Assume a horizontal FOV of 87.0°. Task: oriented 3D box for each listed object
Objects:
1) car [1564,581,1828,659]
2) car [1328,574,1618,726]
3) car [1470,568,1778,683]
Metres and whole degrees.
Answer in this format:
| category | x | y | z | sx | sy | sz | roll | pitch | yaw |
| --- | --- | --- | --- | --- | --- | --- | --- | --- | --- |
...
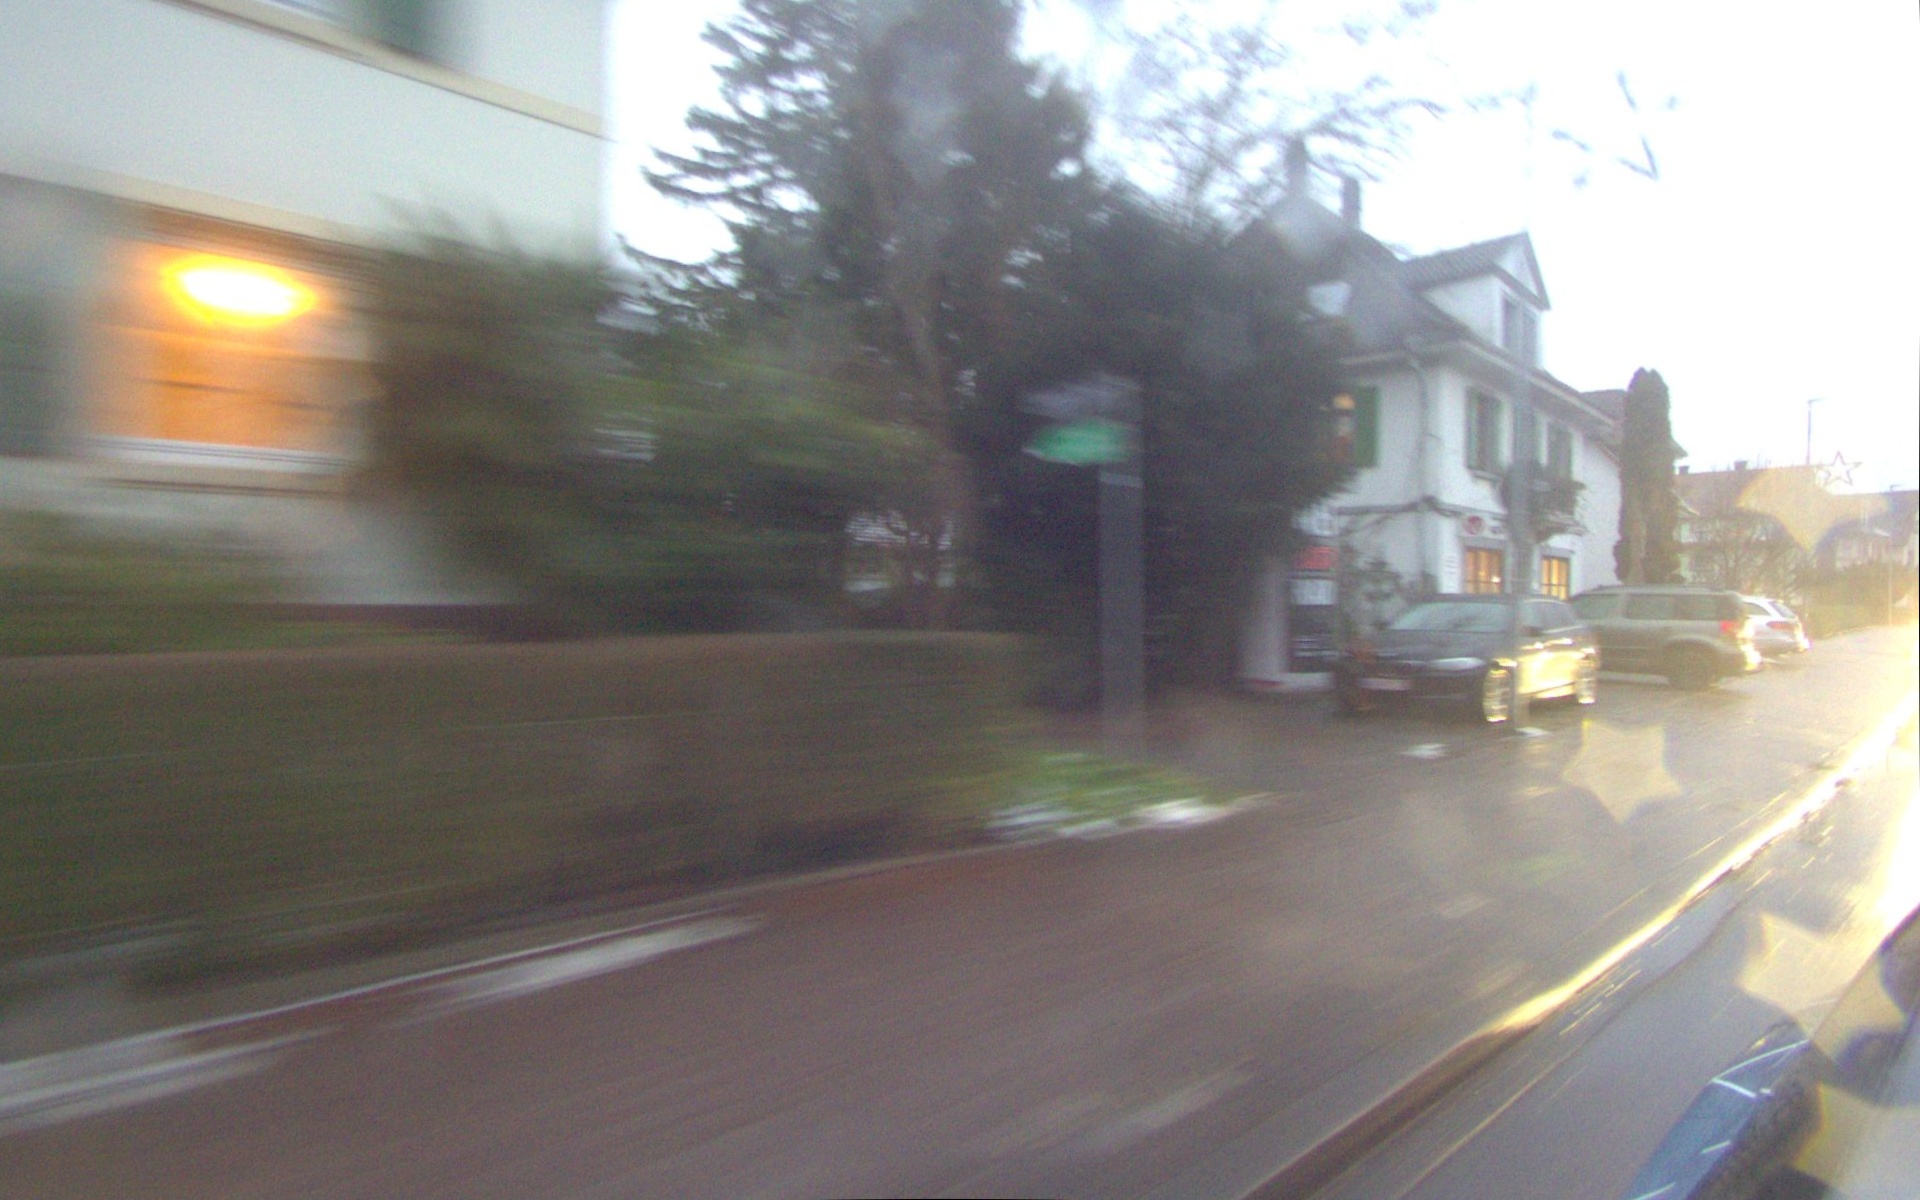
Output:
| category | x | y | z | sx | sy | sz | roll | pitch | yaw |
| --- | --- | --- | --- | --- | --- | --- | --- | --- | --- |
| car | 17.219 | 0.405 | 23.889 | 1.873 | 1.650 | 4.742 | -1 | 1 | -40 |
| car | 6.643 | 0.506 | 12.831 | 4.678 | 1.574 | 1.894 | -1 | 0 | -45 |
| car | 11.303 | 0.386 | 17.412 | 1.967 | 1.727 | 4.104 | -2 | 1 | -44 |
